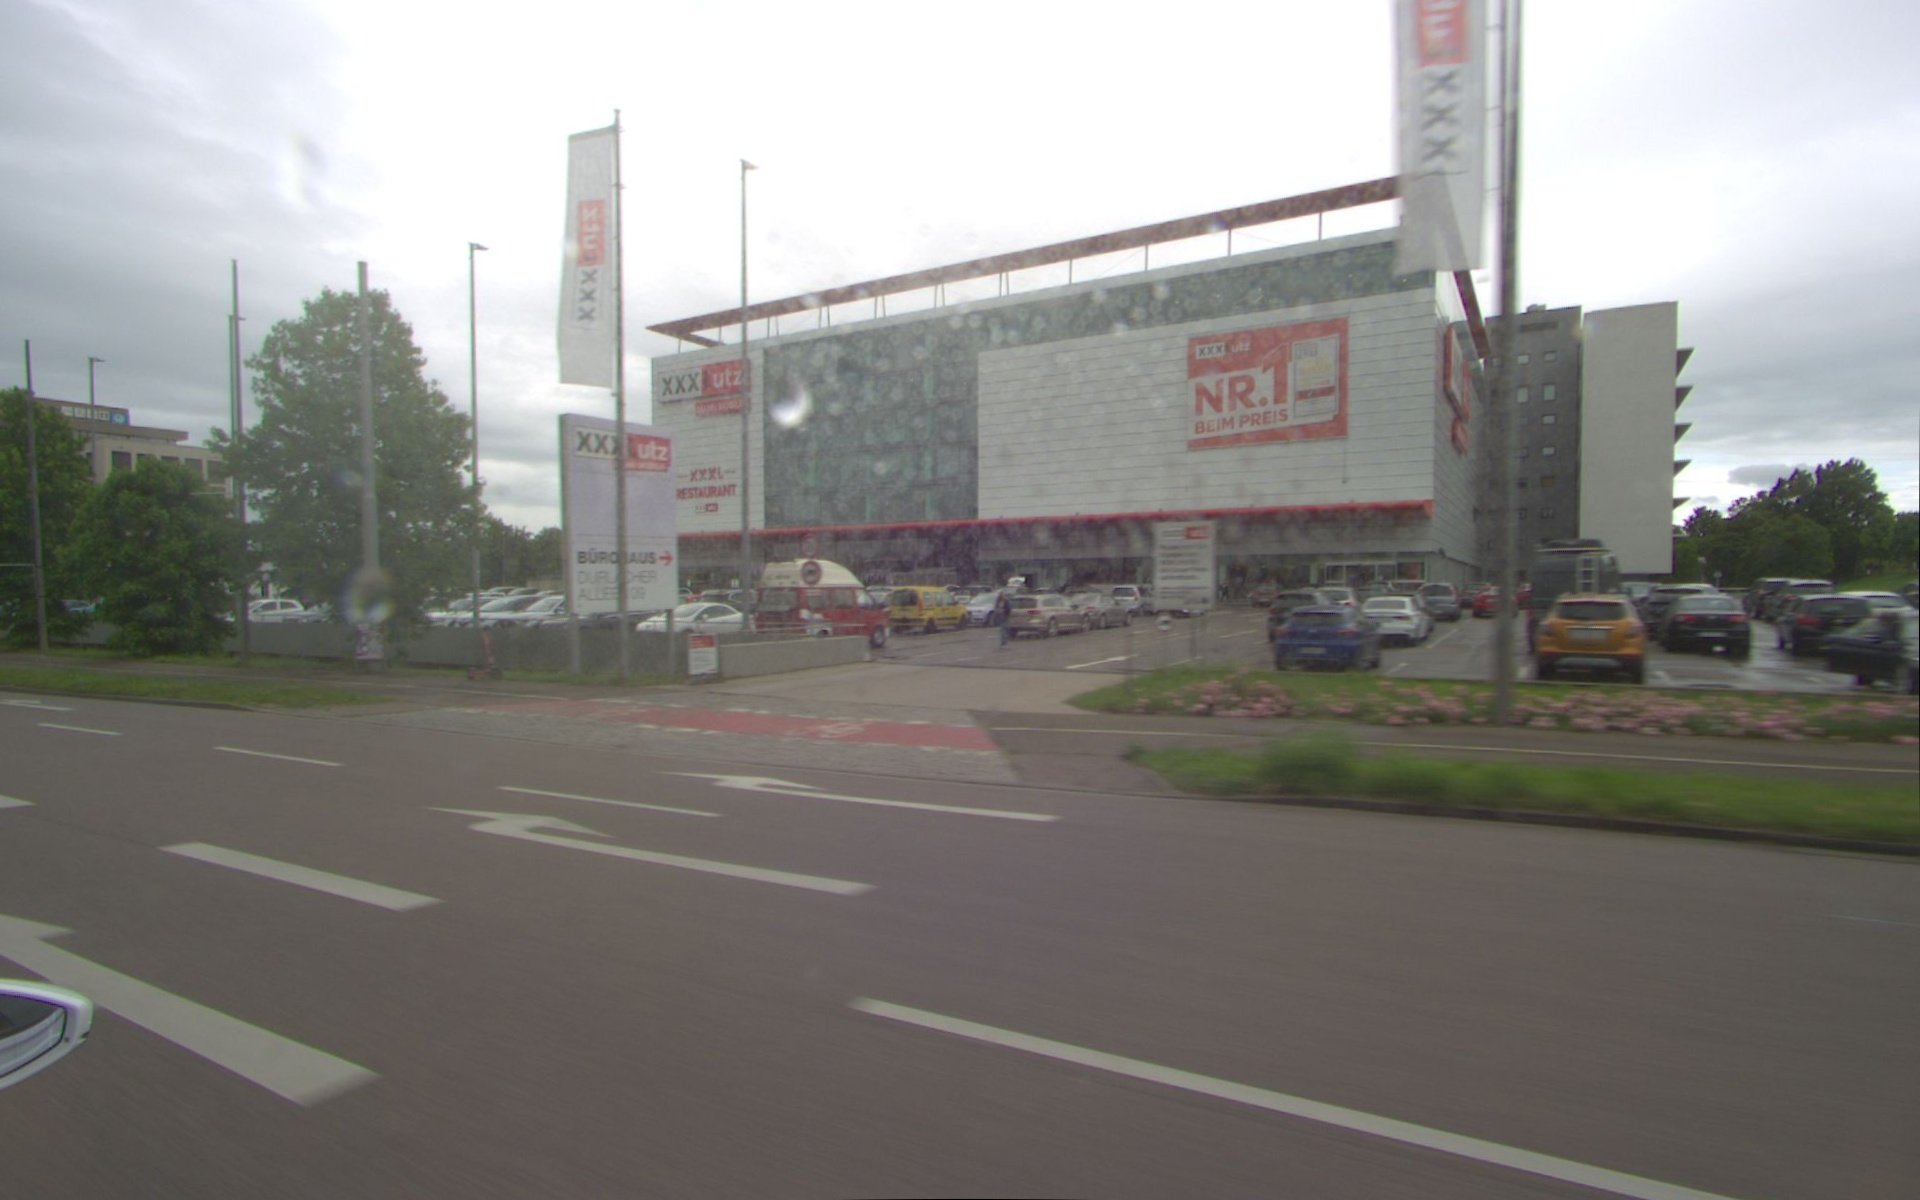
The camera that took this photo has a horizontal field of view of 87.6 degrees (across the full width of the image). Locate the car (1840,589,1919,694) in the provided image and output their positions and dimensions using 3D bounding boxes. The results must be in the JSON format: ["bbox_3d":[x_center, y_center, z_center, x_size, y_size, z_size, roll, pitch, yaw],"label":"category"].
[{"bbox_3d":[16.507,0.619,16.741,1.743,1.604,4.520,-1,0,29],"label":"car"}]

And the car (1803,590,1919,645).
[{"bbox_3d":[26.569,0.498,29.437,1.802,1.487,3.890,-1,0,26],"label":"car"}]

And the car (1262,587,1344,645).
[{"bbox_3d":[10.964,0.446,31.847,1.804,1.677,3.885,1,2,29],"label":"car"}]

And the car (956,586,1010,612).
[{"bbox_3d":[1.493,-0.046,63.943,1.803,1.575,3.786,2,1,31],"label":"car"}]

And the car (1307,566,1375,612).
[{"bbox_3d":[14.016,-0.376,36.701,1.668,1.602,3.887,0,0,31],"label":"car"}]

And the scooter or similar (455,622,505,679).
[{"bbox_3d":[-10.630,1.109,22.175,1.230,1.207,0.369,1,2,31],"label":"scooter or similar"}]

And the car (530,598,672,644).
[{"bbox_3d":[-12.402,0.681,34.842,1.840,1.438,4.456,2,1,32],"label":"car"}]

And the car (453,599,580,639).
[{"bbox_3d":[-16.368,0.665,37.155,1.807,1.368,4.048,2,1,30],"label":"car"}]

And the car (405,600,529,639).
[{"bbox_3d":[-18.976,0.712,38.708,1.737,1.368,4.048,2,1,30],"label":"car"}]

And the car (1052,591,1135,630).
[{"bbox_3d":[5.510,0.419,40.901,1.714,1.489,4.230,2,1,33],"label":"car"}]

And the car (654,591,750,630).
[{"bbox_3d":[-11.760,0.485,45.876,1.808,1.686,4.162,0,0,34],"label":"car"}]

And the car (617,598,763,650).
[{"bbox_3d":[-8.579,0.708,32.171,1.932,1.481,4.365,2,1,32],"label":"car"}]

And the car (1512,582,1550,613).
[{"bbox_3d":[31.428,-0.168,55.089,1.627,1.581,3.595,1,2,32],"label":"car"}]

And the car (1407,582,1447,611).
[{"bbox_3d":[26.959,-0.220,57.735,1.627,1.581,3.595,1,2,32],"label":"car"}]

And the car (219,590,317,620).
[{"bbox_3d":[-32.876,0.232,47.670,1.580,1.325,3.512,2,1,26],"label":"car"}]

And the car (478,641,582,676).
[{"bbox_3d":[-19.285,2.608,45.042,1.738,1.368,4.047,0,-1,31],"label":"car"}]

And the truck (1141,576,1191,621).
[{"bbox_3d":[11.381,-0.064,55.195,1.713,2.418,3.564,0,0,30],"label":"truck"}]

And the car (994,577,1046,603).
[{"bbox_3d":[3.870,-0.610,63.888,1.803,1.575,3.787,2,1,30],"label":"car"}]

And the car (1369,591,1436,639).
[{"bbox_3d":[15.312,0.512,34.570,1.633,1.576,3.659,0,0,32],"label":"car"}]

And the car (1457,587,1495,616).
[{"bbox_3d":[29.504,0.080,57.224,1.627,1.580,3.597,1,0,32],"label":"car"}]

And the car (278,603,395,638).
[{"bbox_3d":[-27.177,0.860,43.774,1.737,1.368,4.048,2,1,30],"label":"car"}]

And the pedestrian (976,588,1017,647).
[{"bbox_3d":[1.111,0.514,30.150,0.872,1.743,0.938,2,2,30],"label":"pedestrian"}]

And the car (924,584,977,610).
[{"bbox_3d":[-0.577,-0.191,64.942,1.716,1.575,3.764,2,1,31],"label":"car"}]

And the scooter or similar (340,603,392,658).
[{"bbox_3d":[-16.172,0.810,27.238,1.798,1.440,0.647,-1,1,40],"label":"scooter or similar"}]

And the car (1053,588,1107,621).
[{"bbox_3d":[7.072,0.265,58.691,1.812,1.894,3.983,0,0,28],"label":"car"}]

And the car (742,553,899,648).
[{"bbox_3d":[-4.100,-0.020,30.177,2.139,2.614,4.712,2,1,33],"label":"car"}]

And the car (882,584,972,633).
[{"bbox_3d":[-1.259,0.309,39.380,1.708,1.792,3.728,2,1,33],"label":"car"}]

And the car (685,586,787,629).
[{"bbox_3d":[-9.847,0.332,44.322,1.862,1.767,4.301,2,1,34],"label":"car"}]

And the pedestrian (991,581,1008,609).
[{"bbox_3d":[2.695,-0.328,68.141,0.953,1.895,0.948,2,2,17],"label":"pedestrian"}]

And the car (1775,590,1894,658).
[{"bbox_3d":[21.823,0.559,25.129,1.922,1.576,3.973,-1,0,37],"label":"car"}]

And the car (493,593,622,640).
[{"bbox_3d":[-14.413,0.564,36.032,1.738,1.561,4.045,2,1,32],"label":"car"}]
